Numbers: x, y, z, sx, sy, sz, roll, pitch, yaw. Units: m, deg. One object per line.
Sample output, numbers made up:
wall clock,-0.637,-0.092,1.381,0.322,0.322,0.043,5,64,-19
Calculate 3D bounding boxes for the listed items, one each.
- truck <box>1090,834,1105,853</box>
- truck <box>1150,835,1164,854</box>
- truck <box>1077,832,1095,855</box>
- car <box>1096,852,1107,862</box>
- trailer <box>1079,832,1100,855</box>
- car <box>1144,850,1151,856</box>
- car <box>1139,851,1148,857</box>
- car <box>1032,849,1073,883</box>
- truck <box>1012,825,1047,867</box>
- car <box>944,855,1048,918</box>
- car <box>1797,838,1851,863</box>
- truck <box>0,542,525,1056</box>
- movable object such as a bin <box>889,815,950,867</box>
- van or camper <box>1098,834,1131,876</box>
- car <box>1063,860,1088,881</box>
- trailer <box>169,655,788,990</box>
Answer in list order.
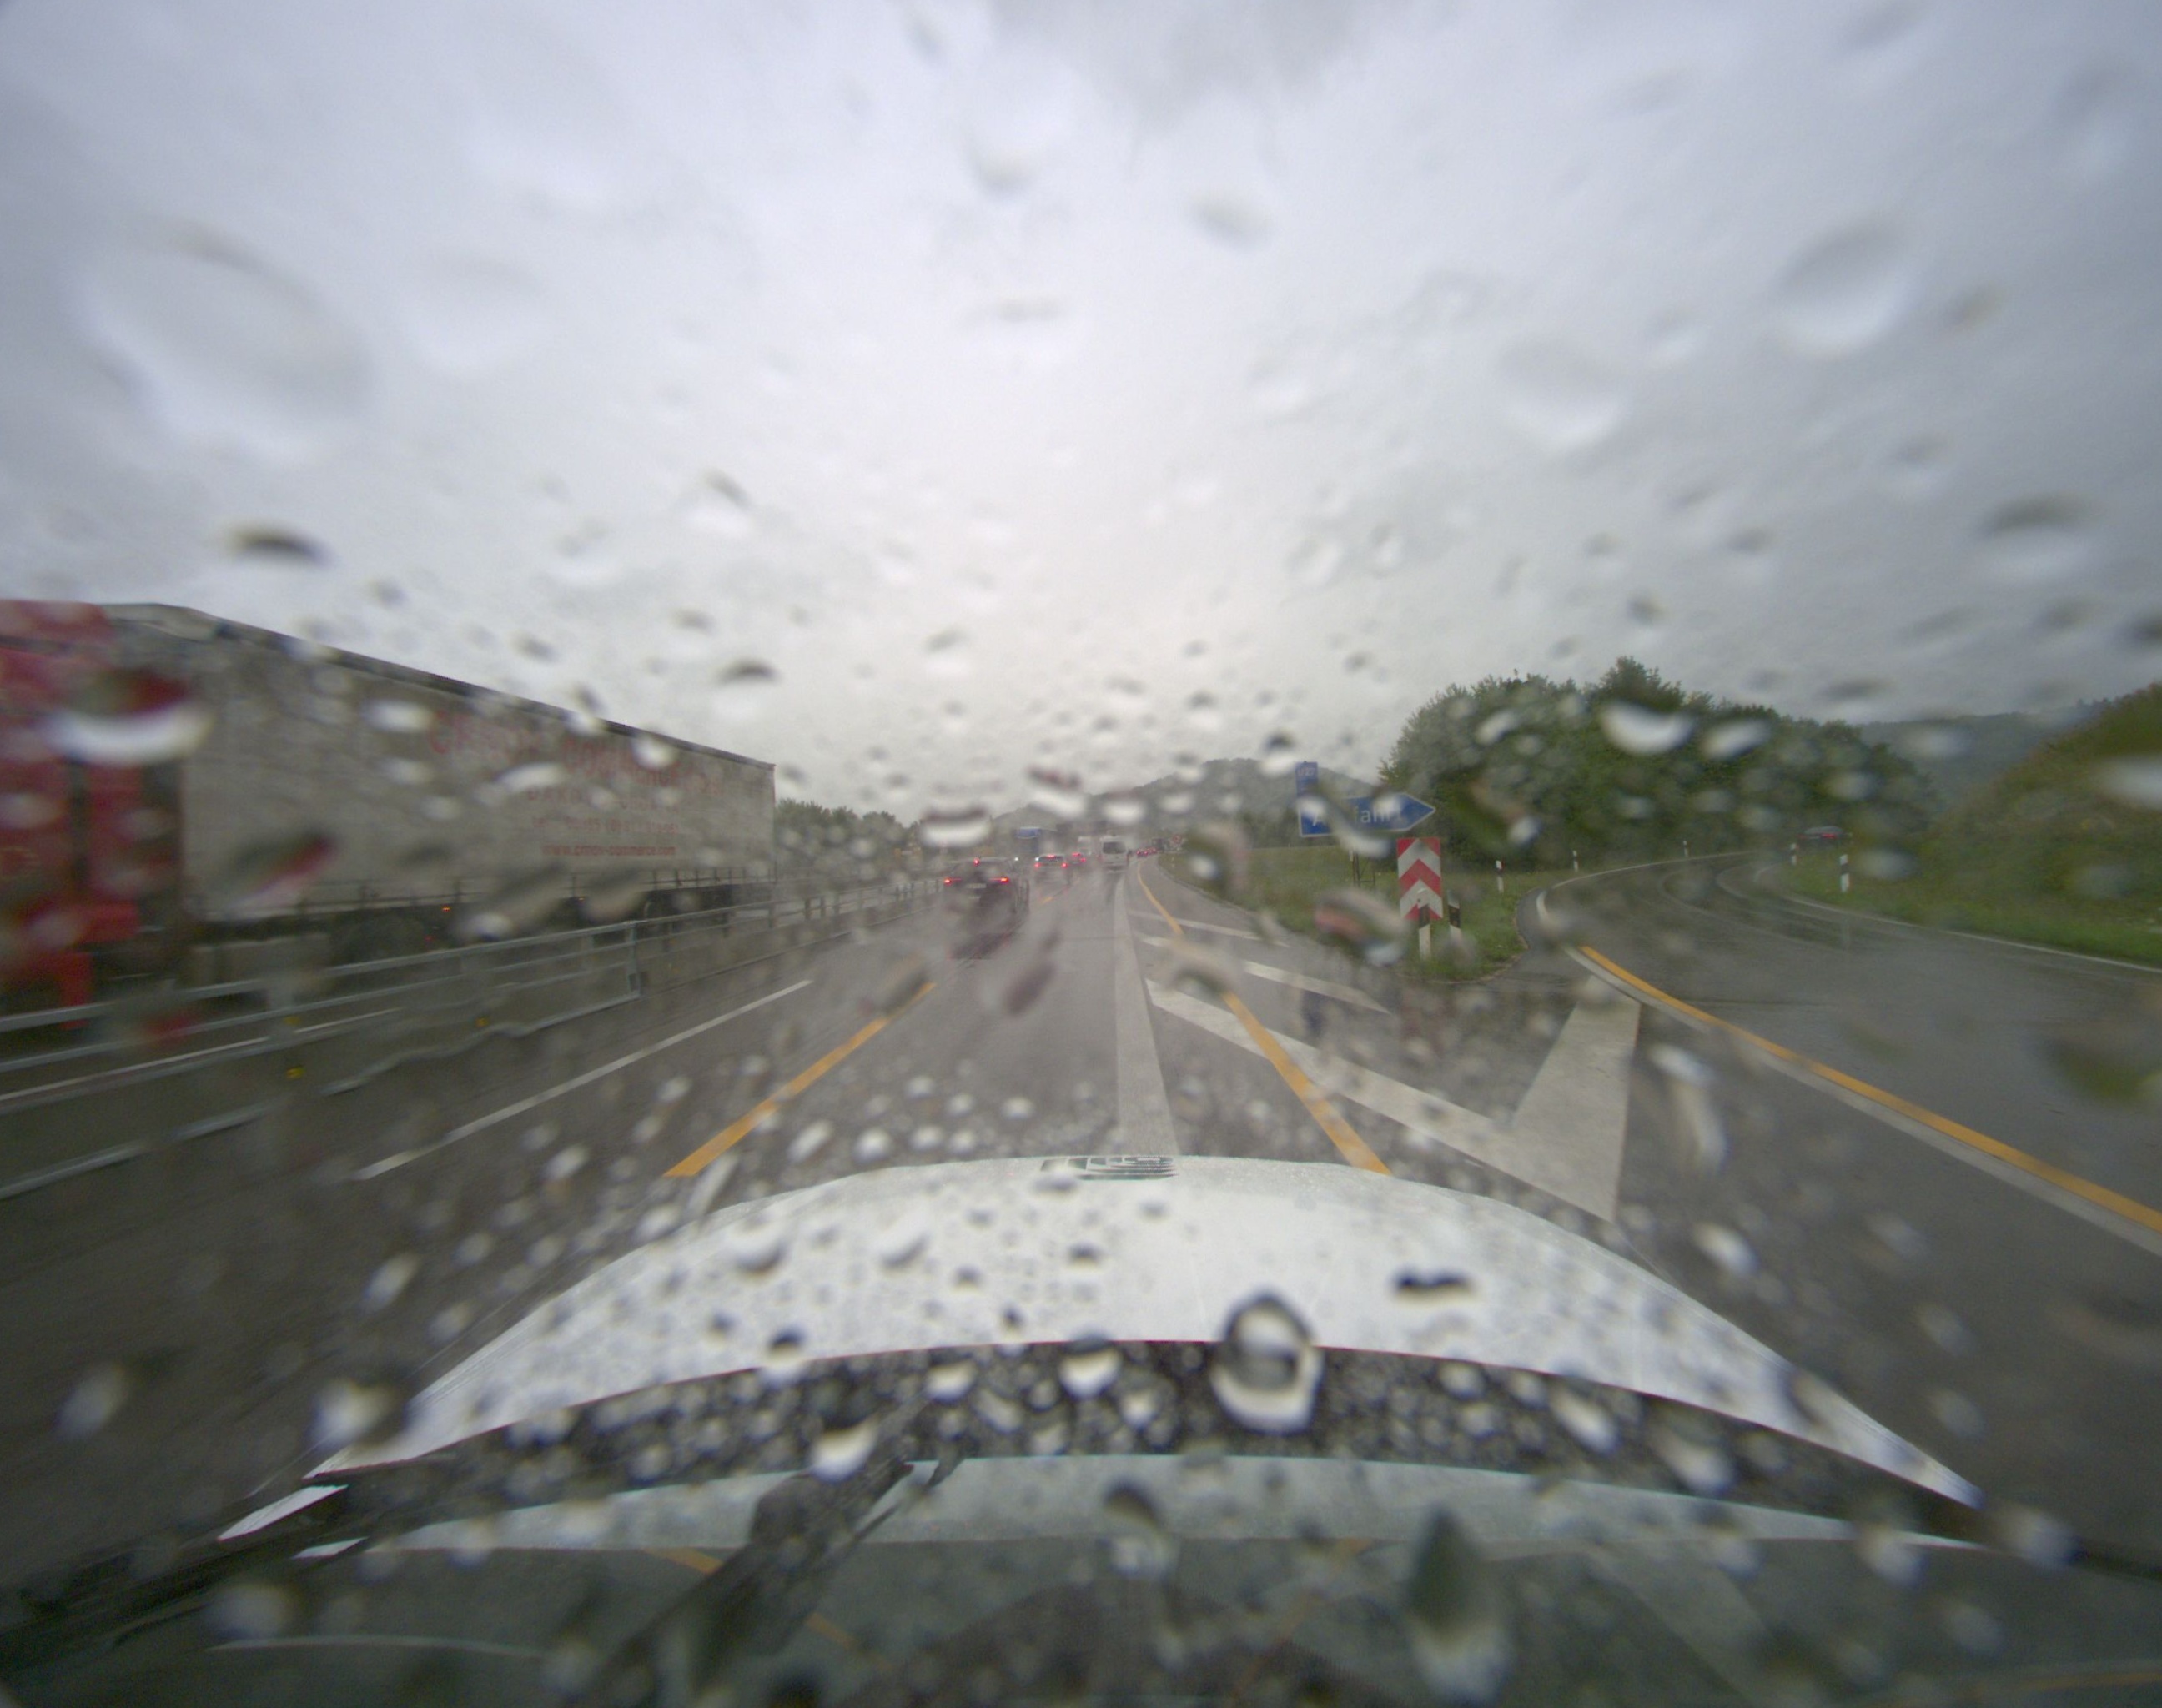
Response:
truck,3.611,-2.344,178.749,2.870,4.101,6.935,-2,1,5
truck,19.777,-2.428,211.616,3.302,4.785,9.928,0,0,8
truck,0.891,-1.886,146.570,2.470,4.030,6.462,-1,1,7
car,2.405,0.368,95.950,1.257,1.078,3.256,-2,0,2
trailer,1.717,-2.013,153.369,2.481,4.049,12.611,-2,1,6
car,13.828,-0.240,169.038,1.378,1.256,3.126,-2,0,4
car,11.030,0.034,143.224,1.379,1.078,3.123,-2,0,1
car,-1.427,0.608,42.548,1.860,1.659,3.990,-2,0,2
truck,-5.193,-0.790,83.806,2.612,4.081,6.677,-1,0,4
car,-2.091,0.767,21.456,1.930,1.427,4.764,-1,0,3
car,46.173,-0.236,50.577,3.648,1.508,1.688,0,0,-35
truck,-9.738,-0.418,8.484,2.632,4.048,7.290,0,0,3
movable object such as a bin,-19.669,-1.509,100.048,4.150,5.915,11.064,0,0,6
van or camper,2.286,0.064,56.983,2.132,2.721,4.649,-2,0,1
car,-0.423,1.256,64.220,1.846,1.500,4.001,-2,0,1
trailer,-9.387,-0.369,15.731,2.602,4.007,11.936,0,0,3
